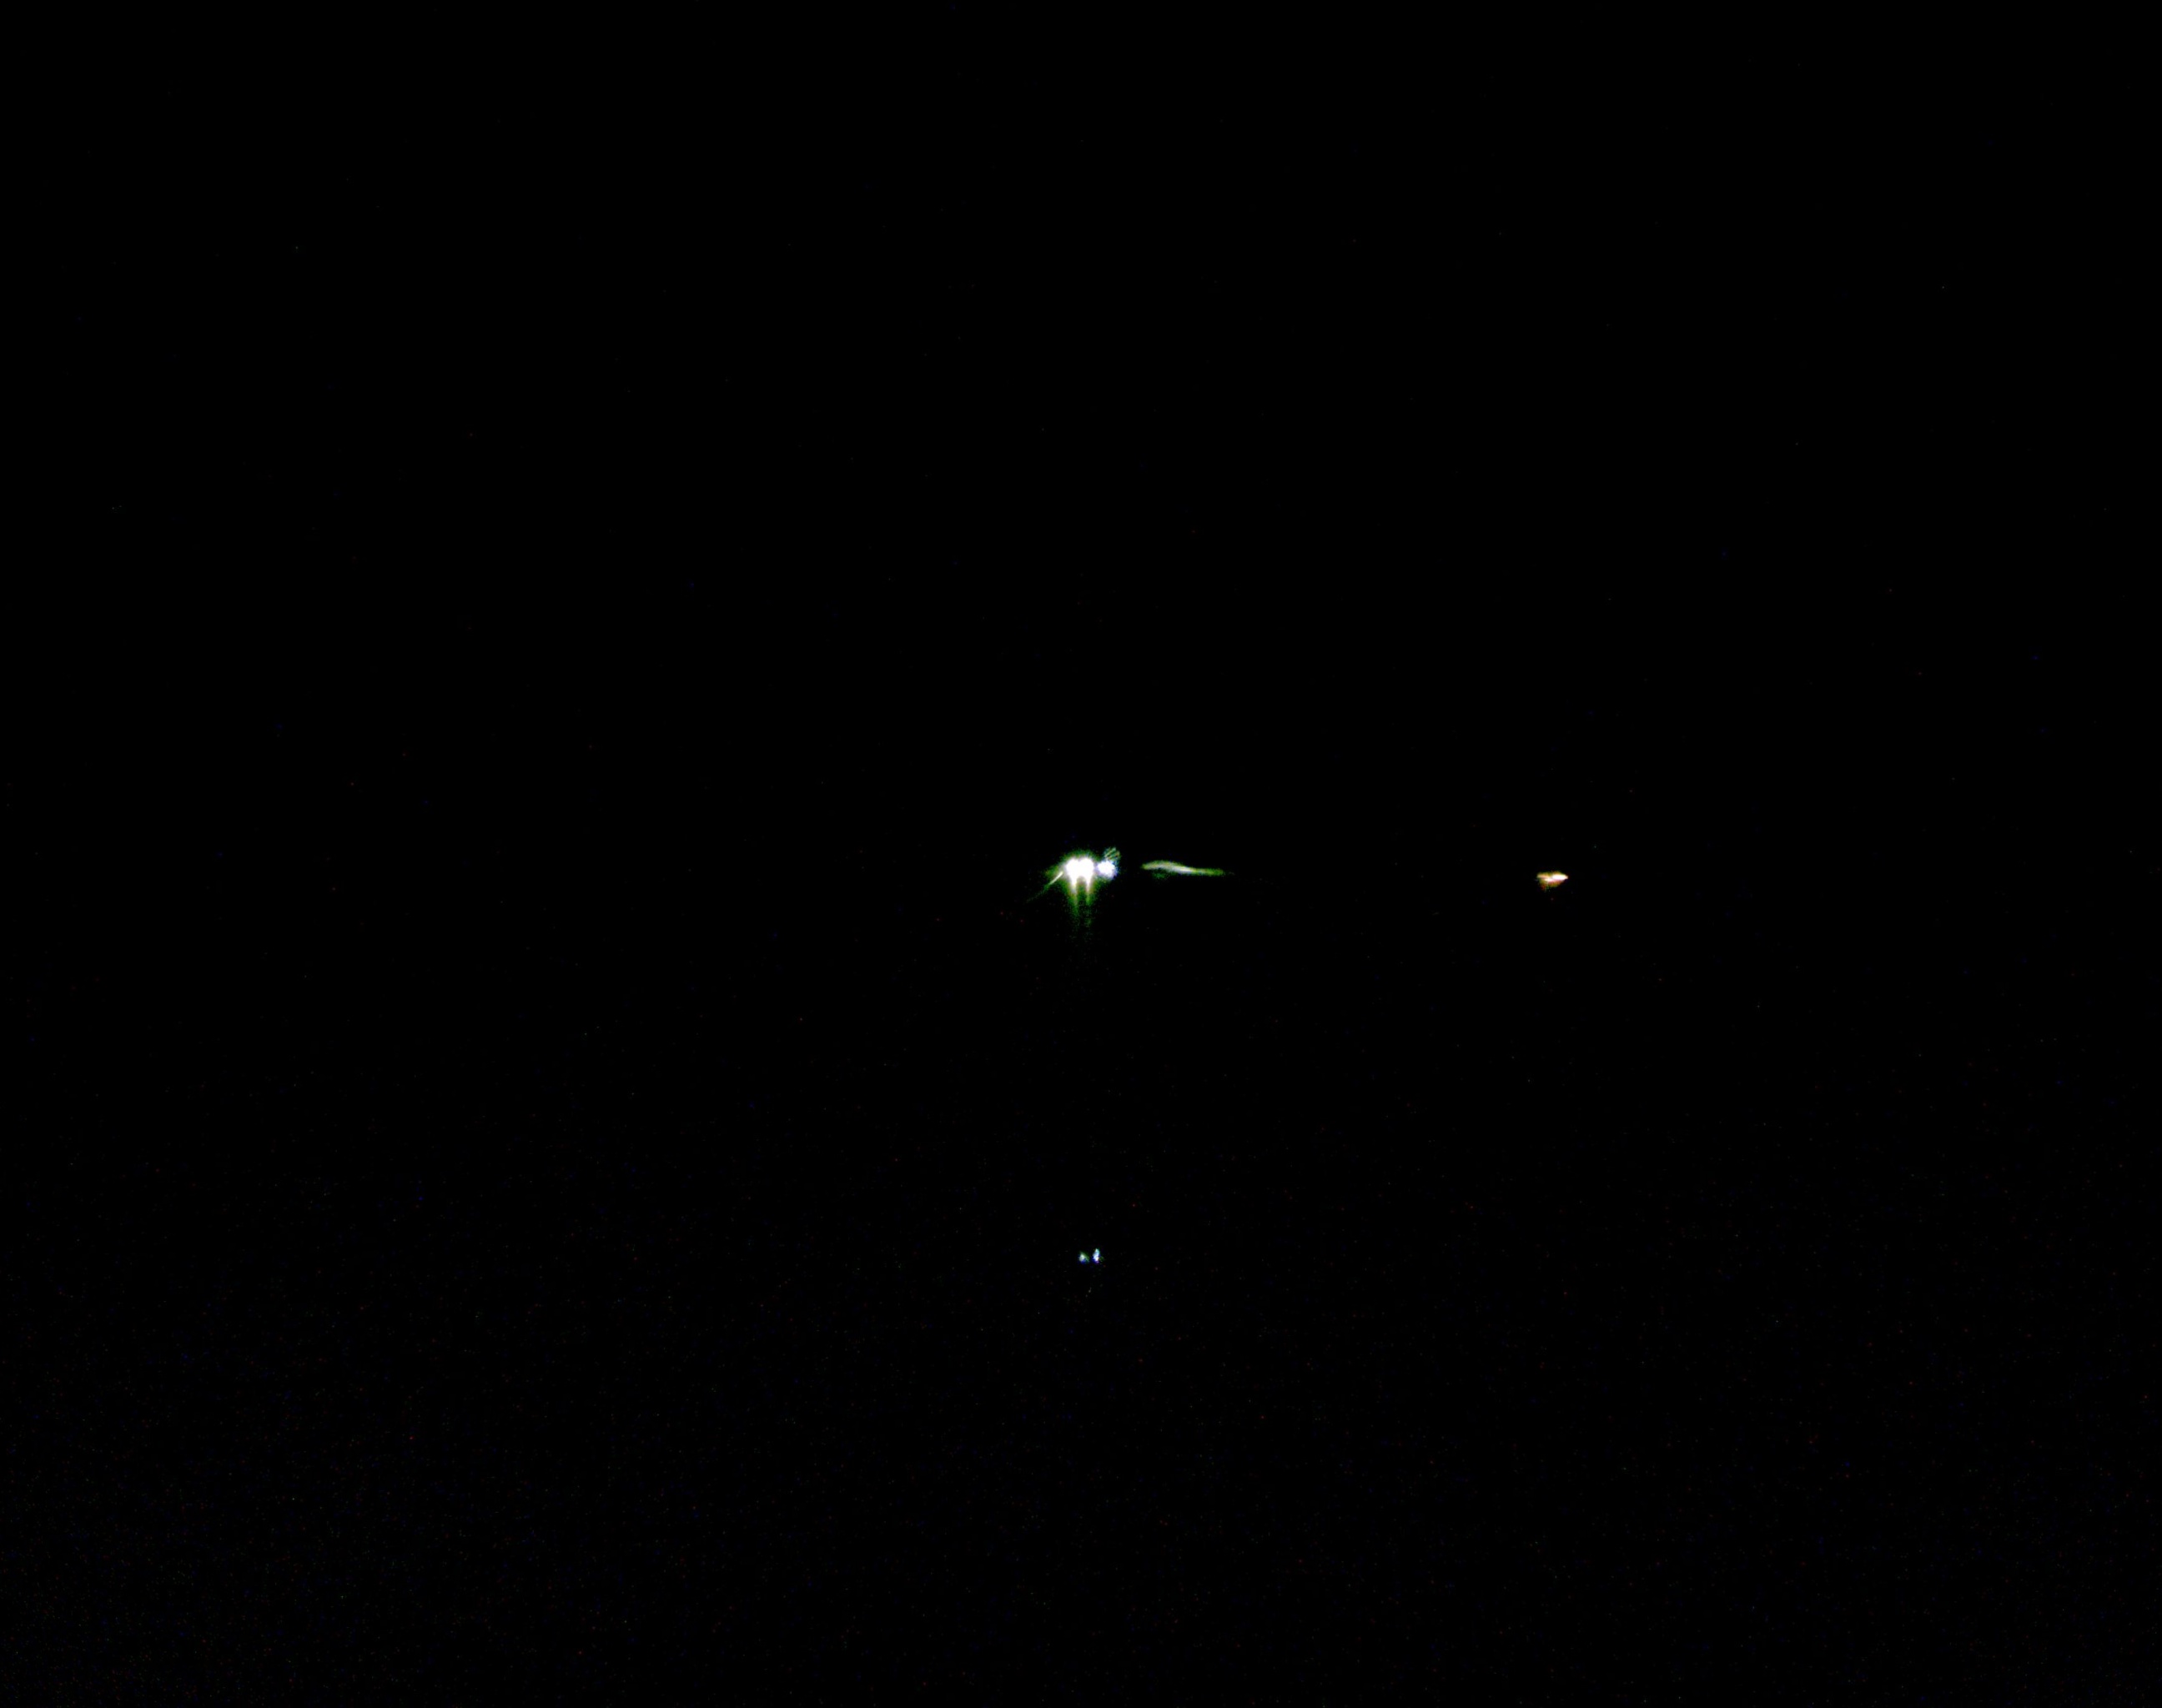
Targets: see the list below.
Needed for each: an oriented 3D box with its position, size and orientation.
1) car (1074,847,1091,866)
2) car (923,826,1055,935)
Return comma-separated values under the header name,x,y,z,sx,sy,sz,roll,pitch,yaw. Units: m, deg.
name,x,y,z,sx,sy,sz,roll,pitch,yaw
car,0.183,0.301,94.847,1.998,2.003,3.998,-3,3,0
car,-1.831,0.515,16.609,2.202,2.002,4.207,-3,0,1
